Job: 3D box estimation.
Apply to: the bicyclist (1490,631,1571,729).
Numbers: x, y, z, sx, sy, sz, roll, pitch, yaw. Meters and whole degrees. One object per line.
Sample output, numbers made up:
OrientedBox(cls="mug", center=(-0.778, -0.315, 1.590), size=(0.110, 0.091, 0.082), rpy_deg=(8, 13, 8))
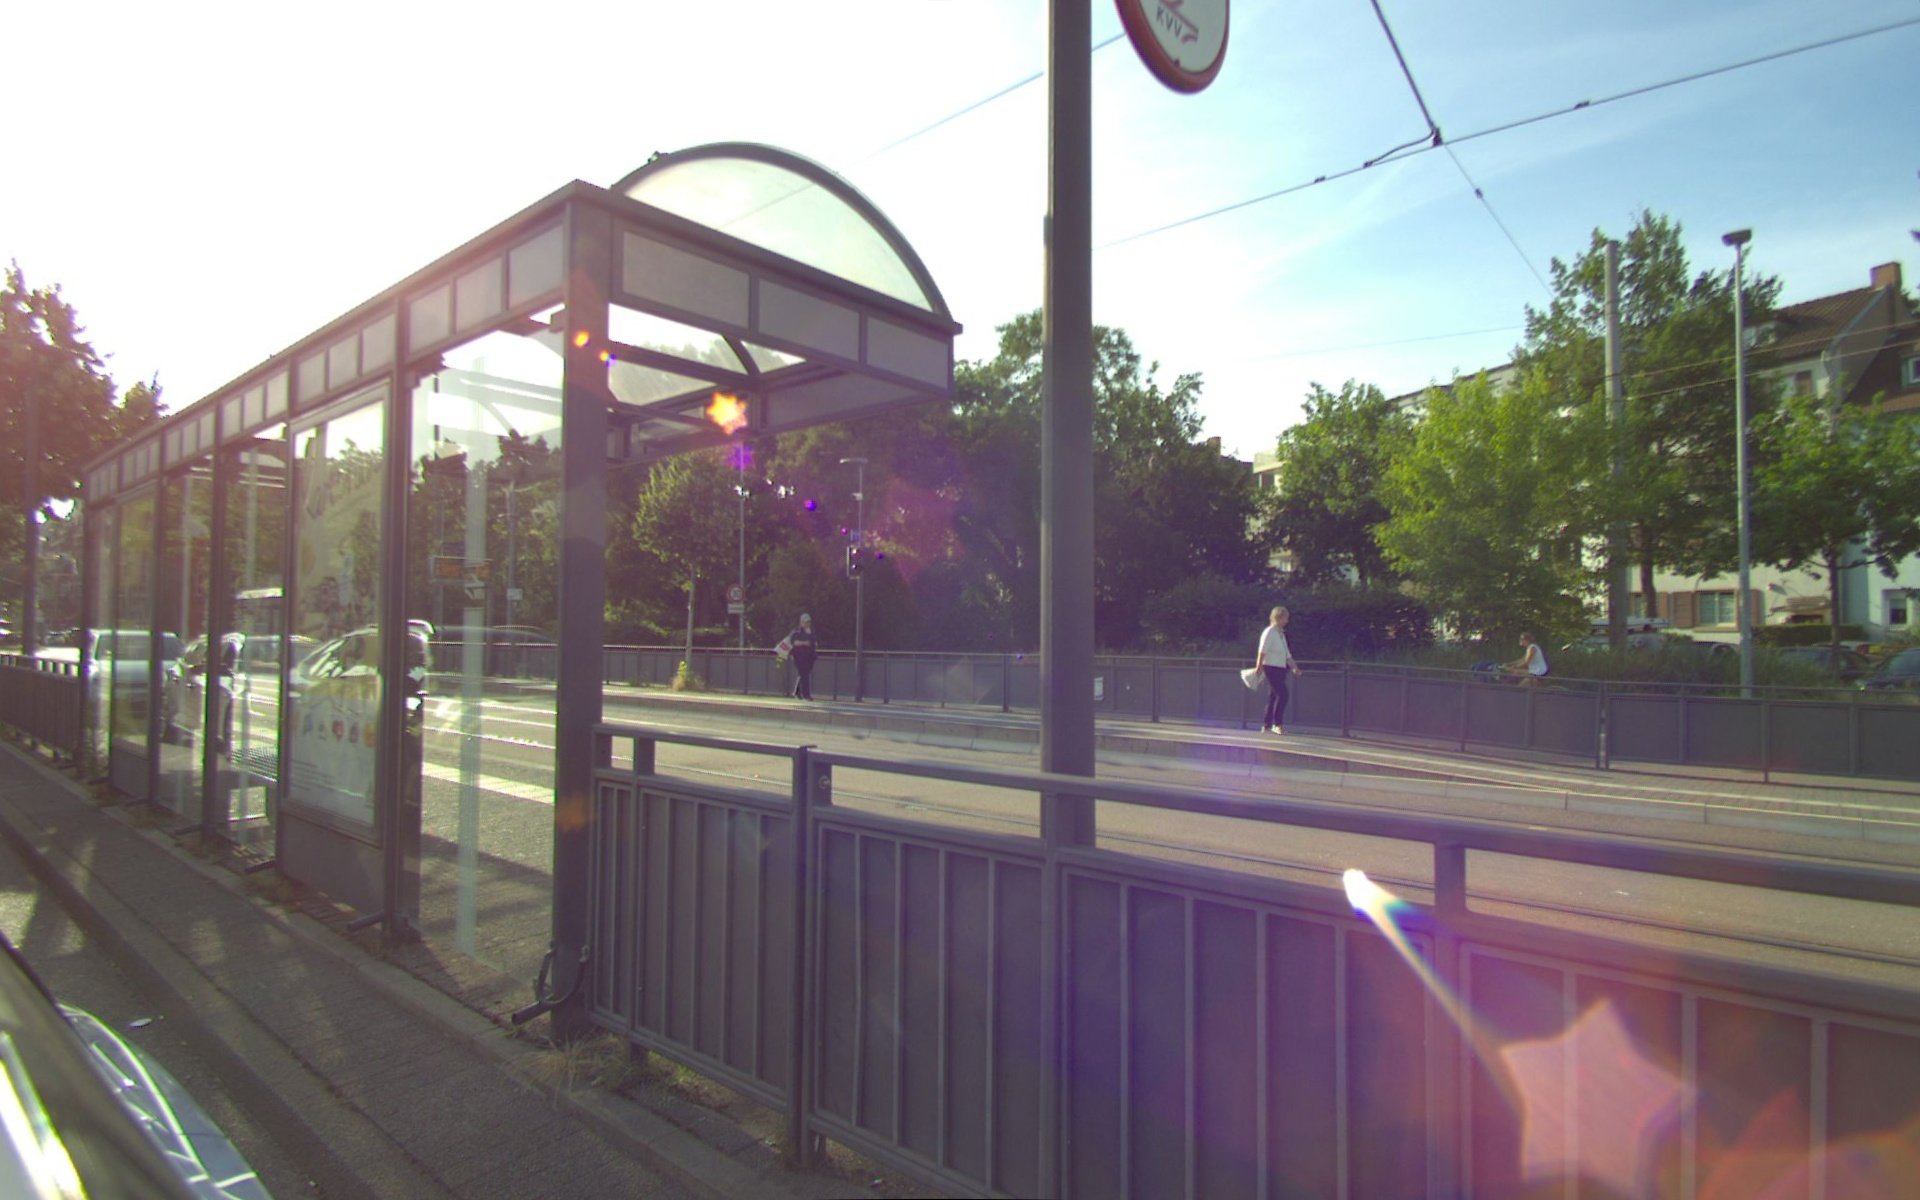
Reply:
OrientedBox(cls="bicyclist", center=(10.042, 1.382, 17.824), size=(1.072, 1.636, 0.697), rpy_deg=(-2, -1, 43))

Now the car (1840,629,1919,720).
OrientedBox(cls="car", center=(20.214, 1.498, 20.914), size=(3.931, 1.767, 1.860), rpy_deg=(2, -3, -30))

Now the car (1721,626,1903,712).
OrientedBox(cls="car", center=(19.003, 1.493, 22.566), size=(3.931, 1.767, 1.860), rpy_deg=(2, -3, -30))

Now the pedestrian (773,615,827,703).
OrientedBox(cls="pedestrian", center=(-3.039, 1.109, 19.253), size=(0.689, 1.640, 0.727), rpy_deg=(-2, -3, 41))

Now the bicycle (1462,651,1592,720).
OrientedBox(cls="bicycle", center=(9.985, 1.475, 17.853), size=(1.864, 1.118, 0.718), rpy_deg=(-2, -1, 42))

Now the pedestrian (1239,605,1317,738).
OrientedBox(cls="pedestrian", center=(4.088, 0.896, 13.014), size=(0.727, 1.640, 0.699), rpy_deg=(-2, -3, 41))

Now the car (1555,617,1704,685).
OrientedBox(cls="car", center=(18.458, 1.397, 27.885), size=(3.931, 1.767, 1.860), rpy_deg=(2, -3, -30))
